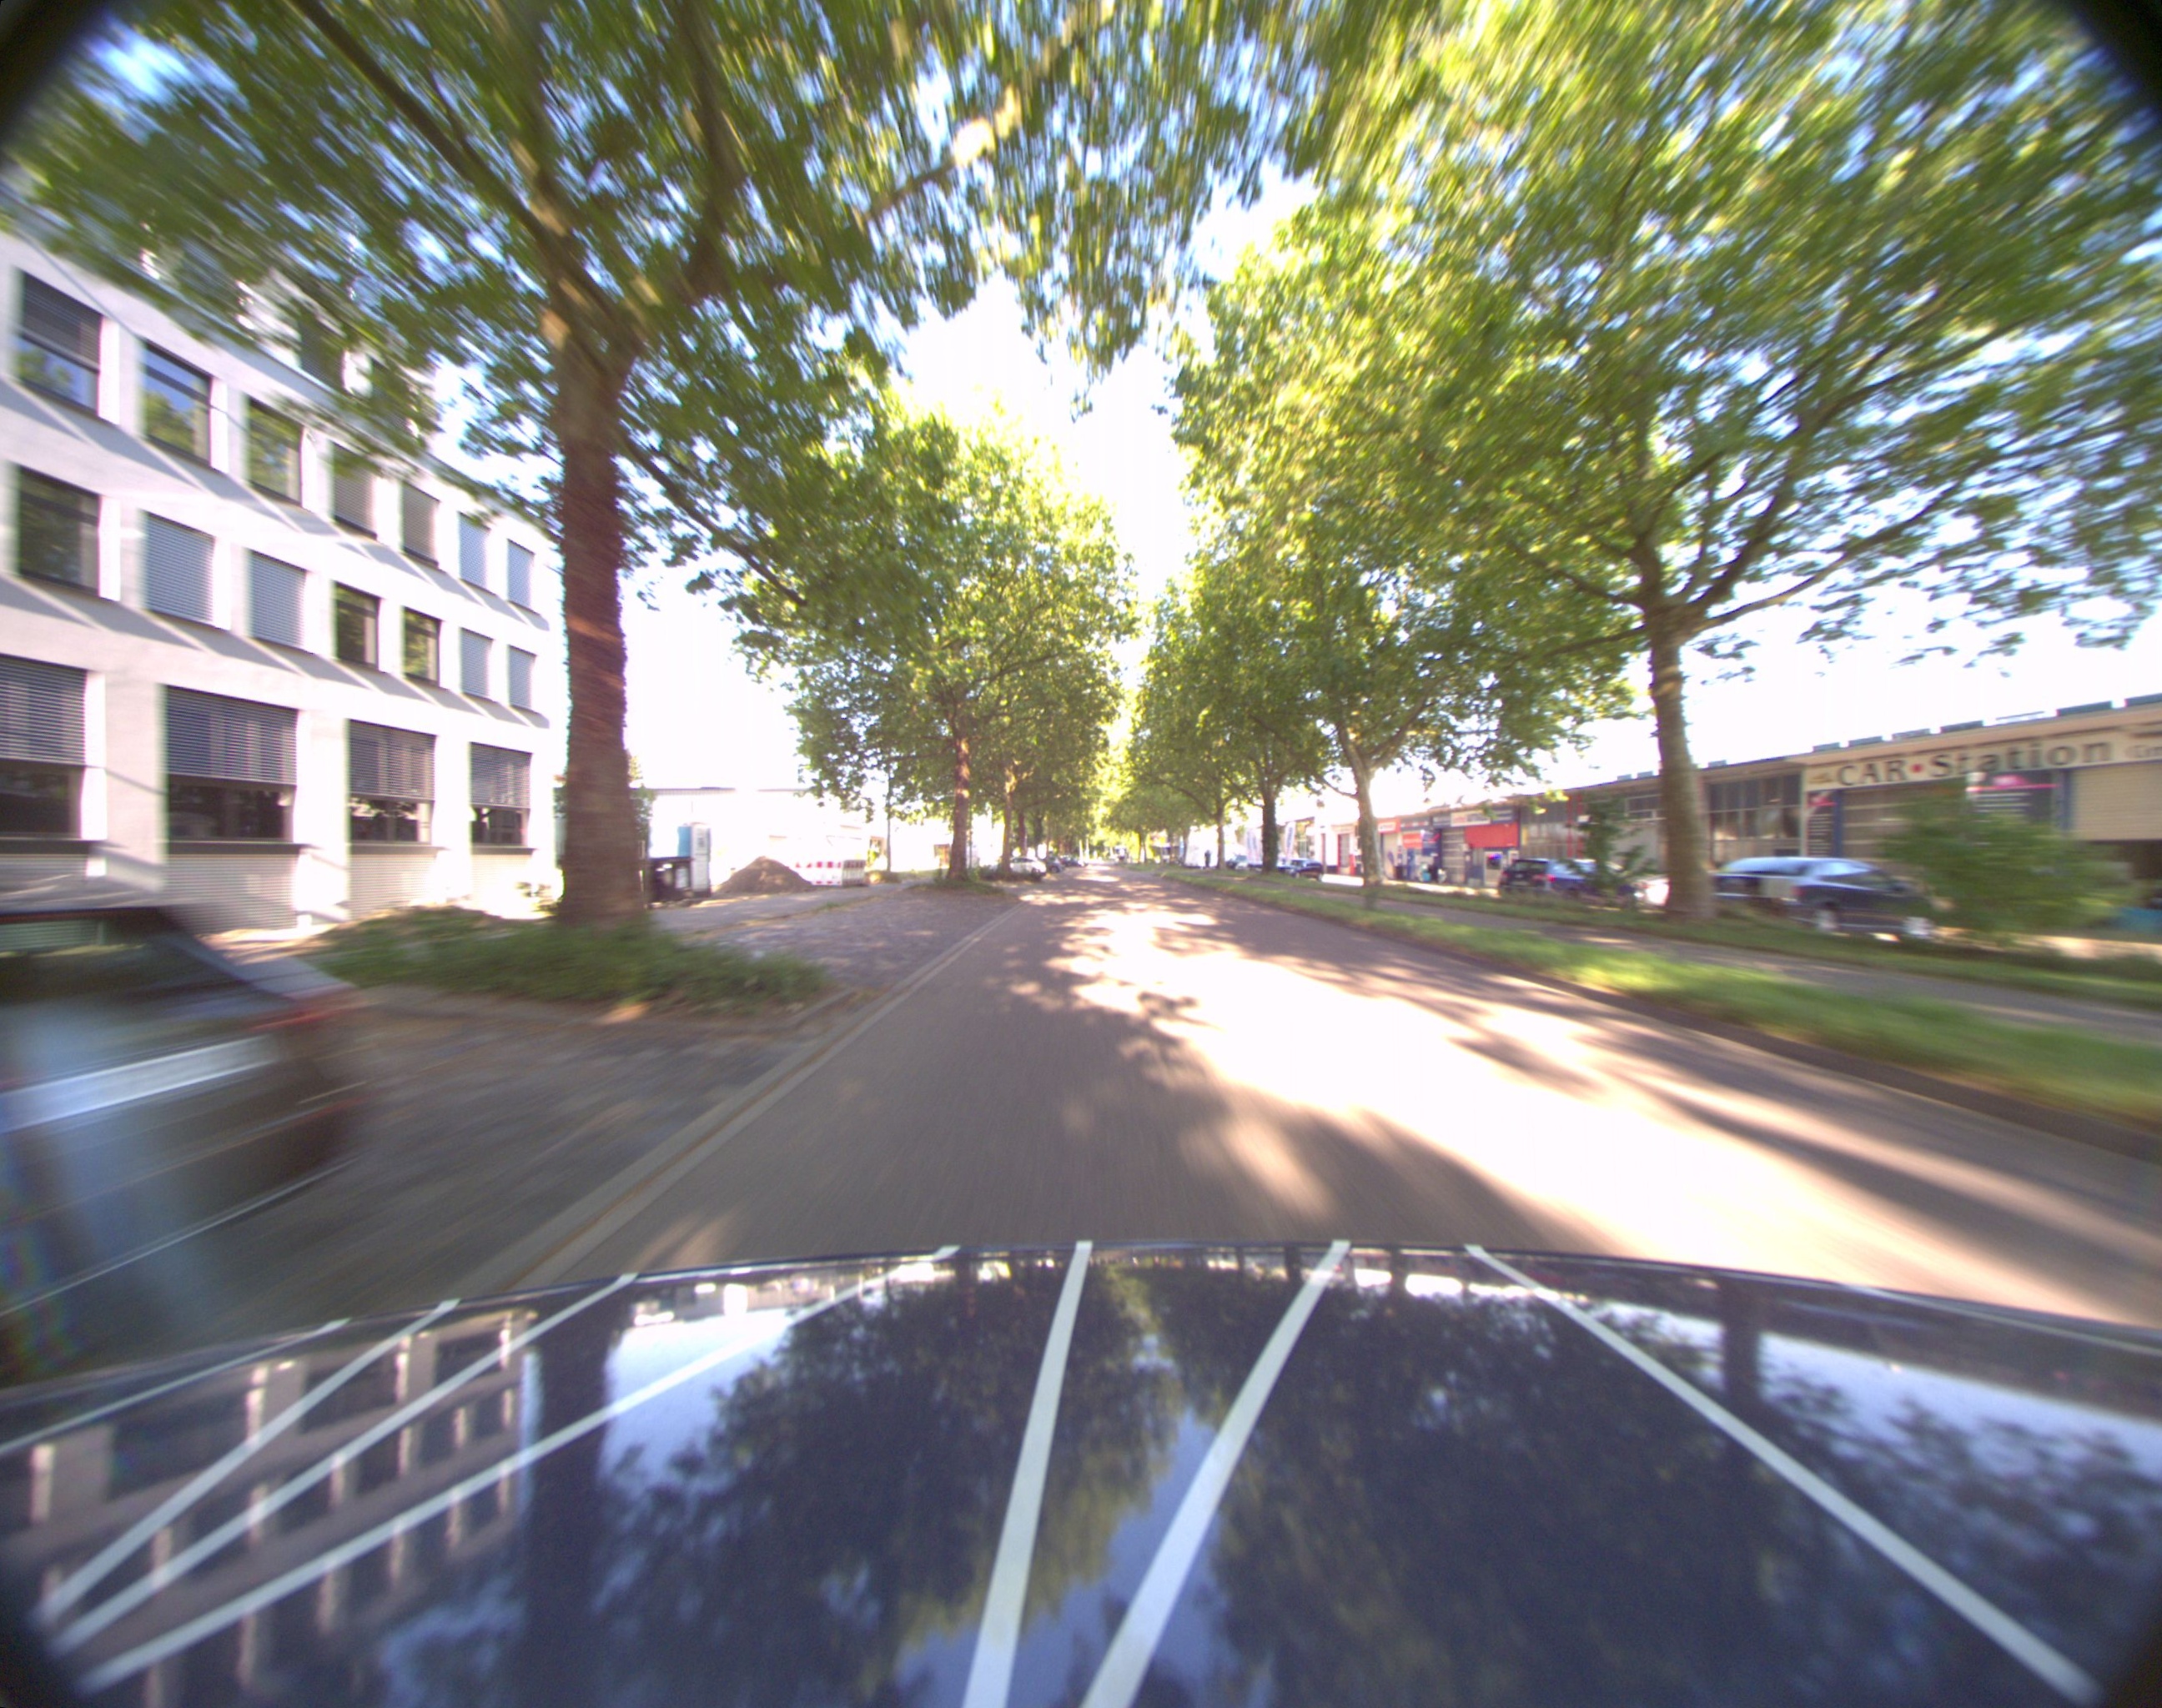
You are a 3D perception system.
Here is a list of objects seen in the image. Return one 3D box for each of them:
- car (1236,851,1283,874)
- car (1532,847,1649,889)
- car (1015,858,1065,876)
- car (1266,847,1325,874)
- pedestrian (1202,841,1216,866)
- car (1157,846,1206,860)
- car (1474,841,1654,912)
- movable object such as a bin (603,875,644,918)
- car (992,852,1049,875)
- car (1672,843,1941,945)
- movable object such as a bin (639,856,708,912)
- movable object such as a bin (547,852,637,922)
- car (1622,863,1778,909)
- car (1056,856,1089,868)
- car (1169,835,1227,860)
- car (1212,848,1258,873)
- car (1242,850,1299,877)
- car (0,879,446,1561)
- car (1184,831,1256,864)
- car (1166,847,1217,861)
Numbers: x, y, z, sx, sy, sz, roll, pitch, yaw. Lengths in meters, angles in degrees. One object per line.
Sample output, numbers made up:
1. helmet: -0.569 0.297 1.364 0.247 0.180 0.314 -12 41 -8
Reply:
1. car: 13.934 0.656 59.246 1.994 1.561 4.059 -1 1 38
2. car: 21.834 0.607 32.766 3.990 1.696 2.003 -1 1 28
3. car: -3.736 1.201 68.475 4.405 1.410 1.999 2 1 -4
4. car: 13.826 0.409 48.895 3.850 1.566 1.994 -3 1 -45
5. pedestrian: 9.243 -0.070 54.800 0.805 1.763 0.940 -2 1 2
6. car: 14.443 -0.164 109.100 6.376 1.669 2.722 3 -1 -18
7. car: 14.163 0.586 22.273 4.905 1.750 1.996 -2 1 -23
8. movable object such as a bin: -10.132 0.928 16.833 0.493 0.895 0.599 -2 1 0
9. car: -4.362 0.684 54.861 3.944 1.504 1.666 2 1 0
10. car: 13.323 0.629 13.964 4.355 1.521 1.996 -2 1 -23
11. movable object such as a bin: -9.902 0.703 18.524 0.749 1.256 1.611 -2 1 1
12. movable object such as a bin: -10.133 0.654 15.813 0.749 1.343 1.620 -2 1 1
13. car: 21.827 1.116 27.017 3.990 1.434 2.003 -1 1 28
14. car: -1.174 1.106 104.502 4.296 1.410 2.000 2 1 4
15. car: 13.637 -0.687 88.574 6.338 2.482 2.595 3 -1 -29
16. car: 12.895 0.521 63.377 1.994 1.829 4.257 -1 1 38
17. car: 13.965 0.687 55.949 4.321 1.741 1.994 -3 1 -43
18. car: -4.690 0.823 2.051 4.295 1.477 1.860 3 1 -1
19. car: 14.049 -0.622 76.760 6.972 2.835 2.596 3 -1 -28
20. car: 15.405 0.039 106.286 6.429 1.669 2.722 3 -1 -18
